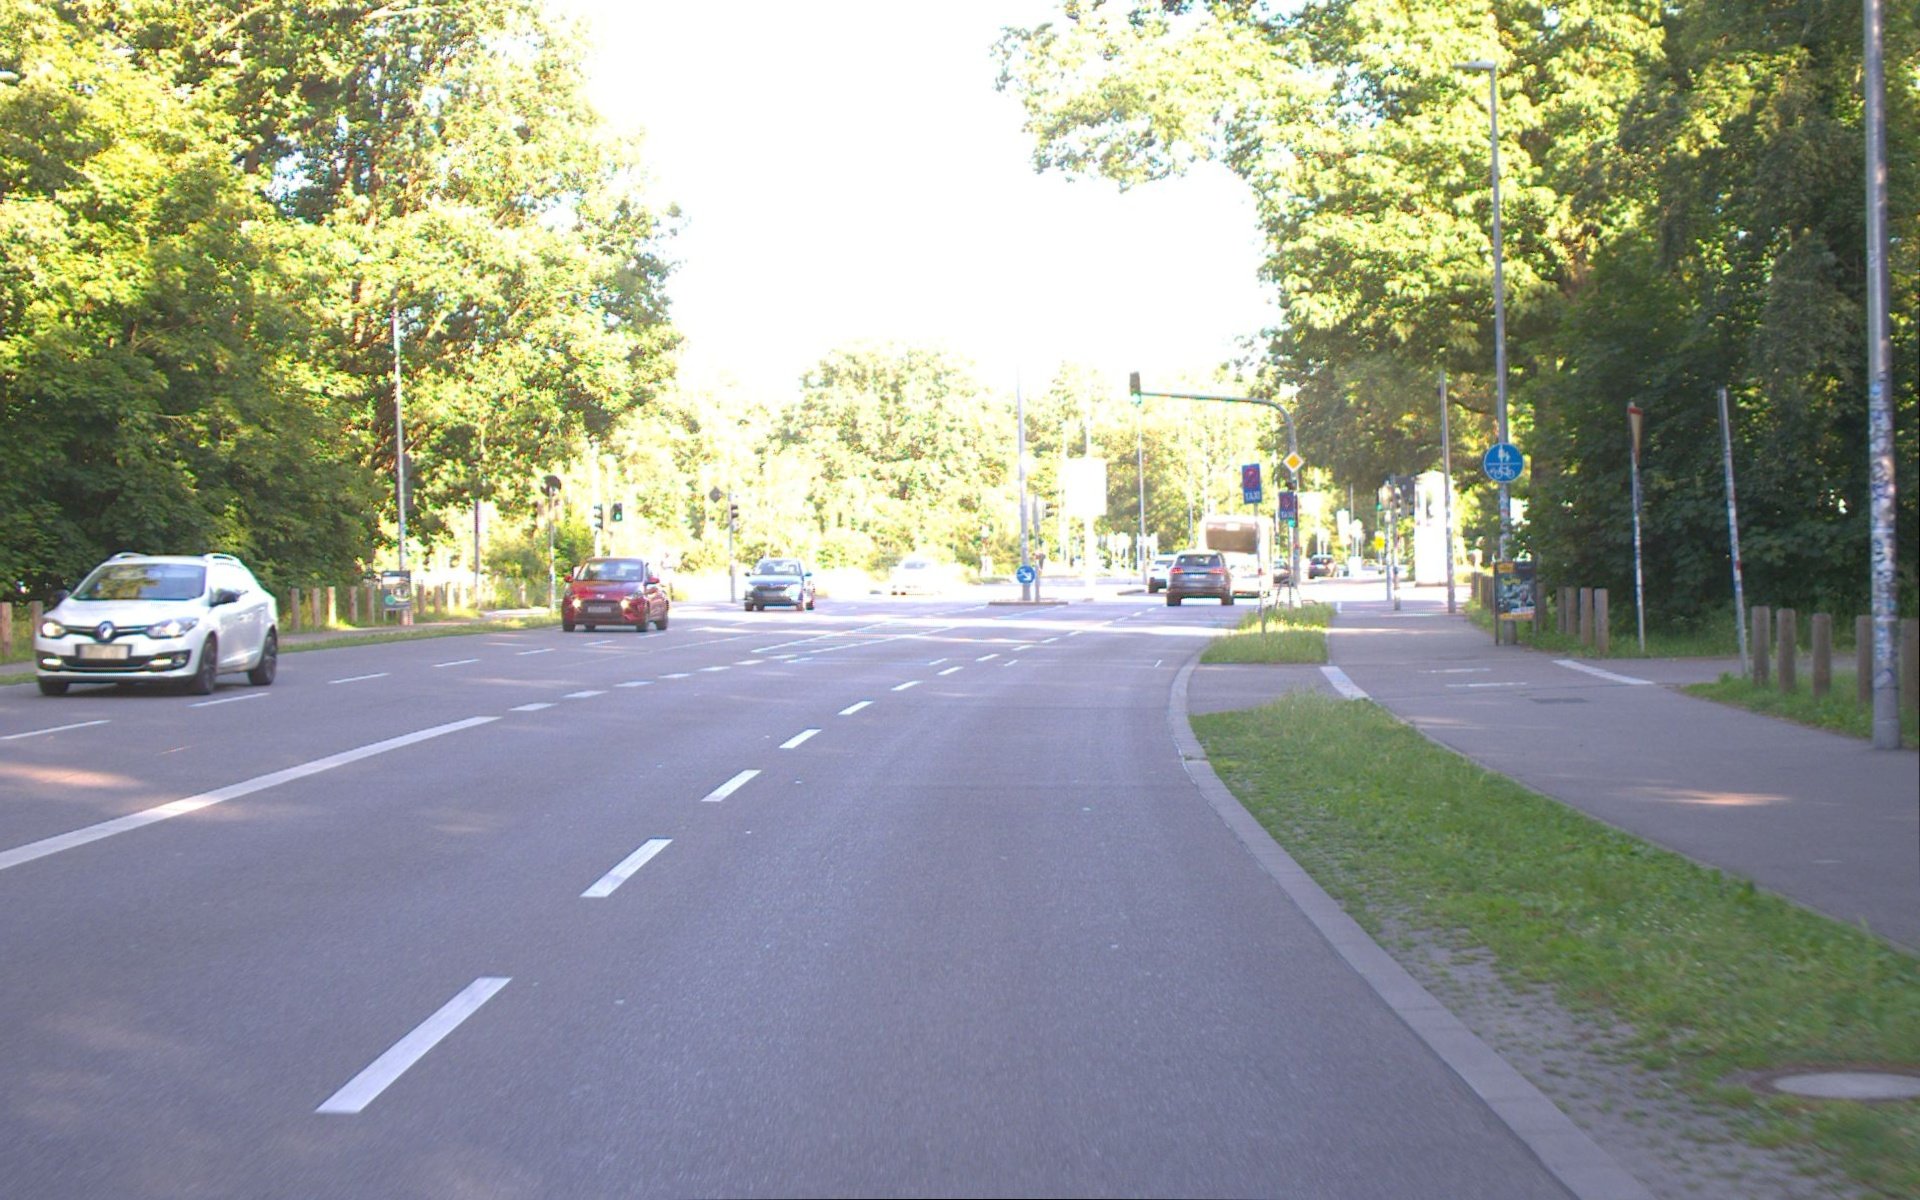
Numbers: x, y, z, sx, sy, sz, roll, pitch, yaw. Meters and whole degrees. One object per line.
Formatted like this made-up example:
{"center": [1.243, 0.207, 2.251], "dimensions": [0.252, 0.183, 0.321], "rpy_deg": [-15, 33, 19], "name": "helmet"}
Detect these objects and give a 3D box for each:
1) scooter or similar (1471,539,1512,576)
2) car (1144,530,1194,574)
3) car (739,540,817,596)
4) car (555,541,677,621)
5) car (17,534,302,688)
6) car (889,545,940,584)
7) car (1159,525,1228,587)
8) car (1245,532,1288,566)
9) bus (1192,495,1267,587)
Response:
{"center": [18.644, -1.490, 120.588], "dimensions": [0.569, 1.252, 1.596], "rpy_deg": [0, 1, 45], "name": "scooter or similar"}
{"center": [8.692, -1.993, 142.565], "dimensions": [1.880, 1.759, 3.999], "rpy_deg": [-1, 1, 6], "name": "car"}
{"center": [-5.088, -0.907, 96.437], "dimensions": [1.656, 1.503, 4.000], "rpy_deg": [-1, 1, 4], "name": "car"}
{"center": [-6.847, -0.399, 68.819], "dimensions": [1.663, 1.513, 3.806], "rpy_deg": [-1, 1, 6], "name": "car"}
{"center": [-8.520, 0.068, 36.962], "dimensions": [1.783, 1.517, 4.397], "rpy_deg": [-1, 1, 3], "name": "car"}
{"center": [-1.761, -1.385, 134.016], "dimensions": [1.711, 1.459, 4.100], "rpy_deg": [1, 1, 3], "name": "car"}
{"center": [7.006, -1.318, 102.657], "dimensions": [1.880, 1.759, 3.999], "rpy_deg": [-1, 1, 6], "name": "car"}
{"center": [15.988, -2.681, 178.948], "dimensions": [1.864, 1.678, 3.771], "rpy_deg": [-2, 1, 10], "name": "car"}
{"center": [10.144, -2.236, 128.852], "dimensions": [2.605, 3.357, 7.974], "rpy_deg": [0, 1, 6], "name": "bus"}
